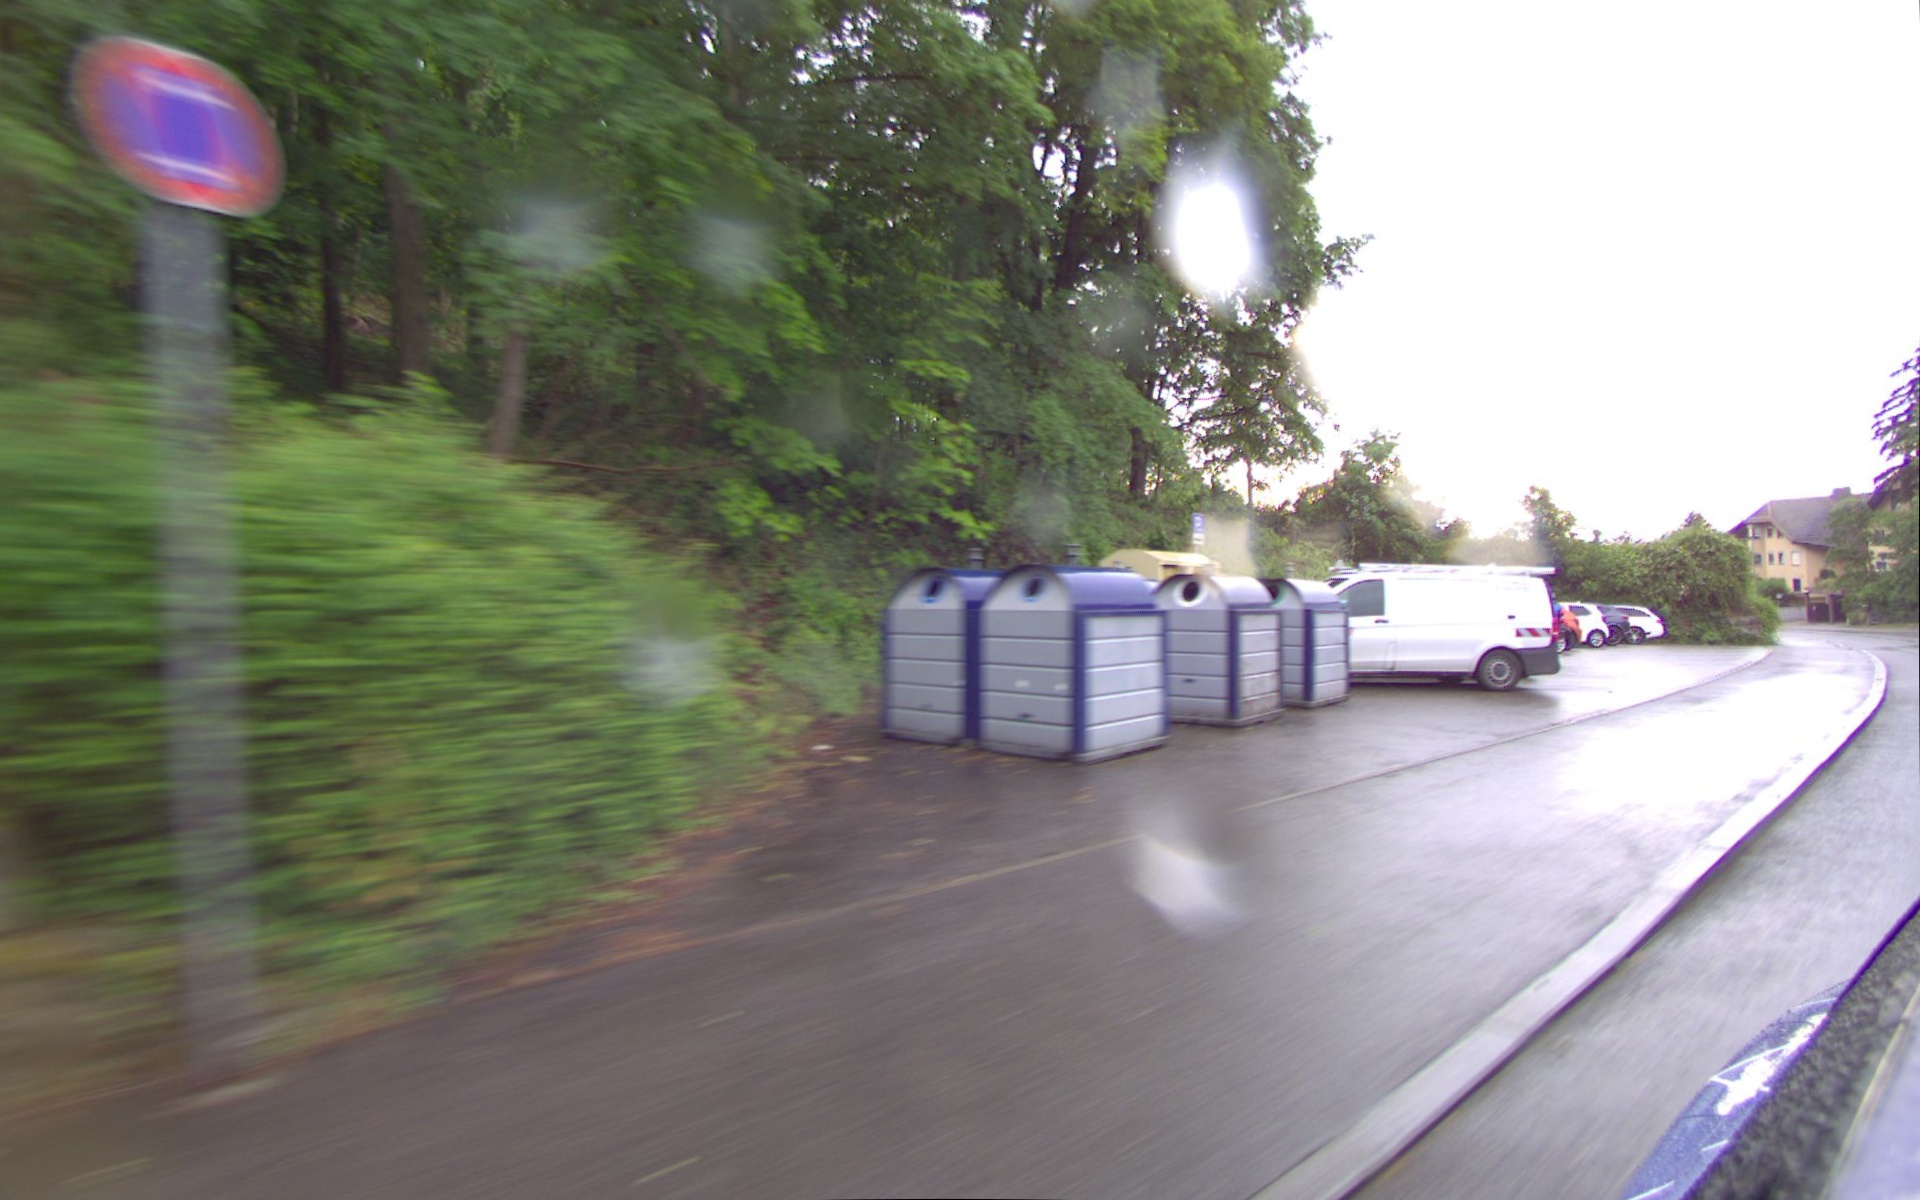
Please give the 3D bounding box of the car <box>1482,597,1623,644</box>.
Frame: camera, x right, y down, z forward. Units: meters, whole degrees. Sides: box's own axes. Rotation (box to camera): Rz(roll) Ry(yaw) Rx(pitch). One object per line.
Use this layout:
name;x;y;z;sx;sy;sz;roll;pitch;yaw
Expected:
car;19.842;0.685;33.982;3.721;1.499;1.753;0;-1;-2

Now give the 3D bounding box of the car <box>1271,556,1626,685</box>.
car;7.844;0.335;16.684;4.752;1.965;2.155;0;-1;2

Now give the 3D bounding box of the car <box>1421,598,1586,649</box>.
car;15.504;0.658;28.999;3.771;1.420;1.716;0;-1;2

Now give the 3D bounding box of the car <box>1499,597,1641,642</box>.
car;22.060;0.692;36.722;4.017;1.526;1.750;0;-1;4

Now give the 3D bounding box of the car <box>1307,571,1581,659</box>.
car;11.408;0.340;24.226;5.381;1.994;2.329;0;-1;3

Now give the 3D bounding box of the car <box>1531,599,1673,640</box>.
car;24.749;0.731;39.144;4.249;1.483;1.805;0;-1;12

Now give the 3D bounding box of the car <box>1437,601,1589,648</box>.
car;17.180;0.750;31.563;3.725;1.420;1.716;0;-1;3
